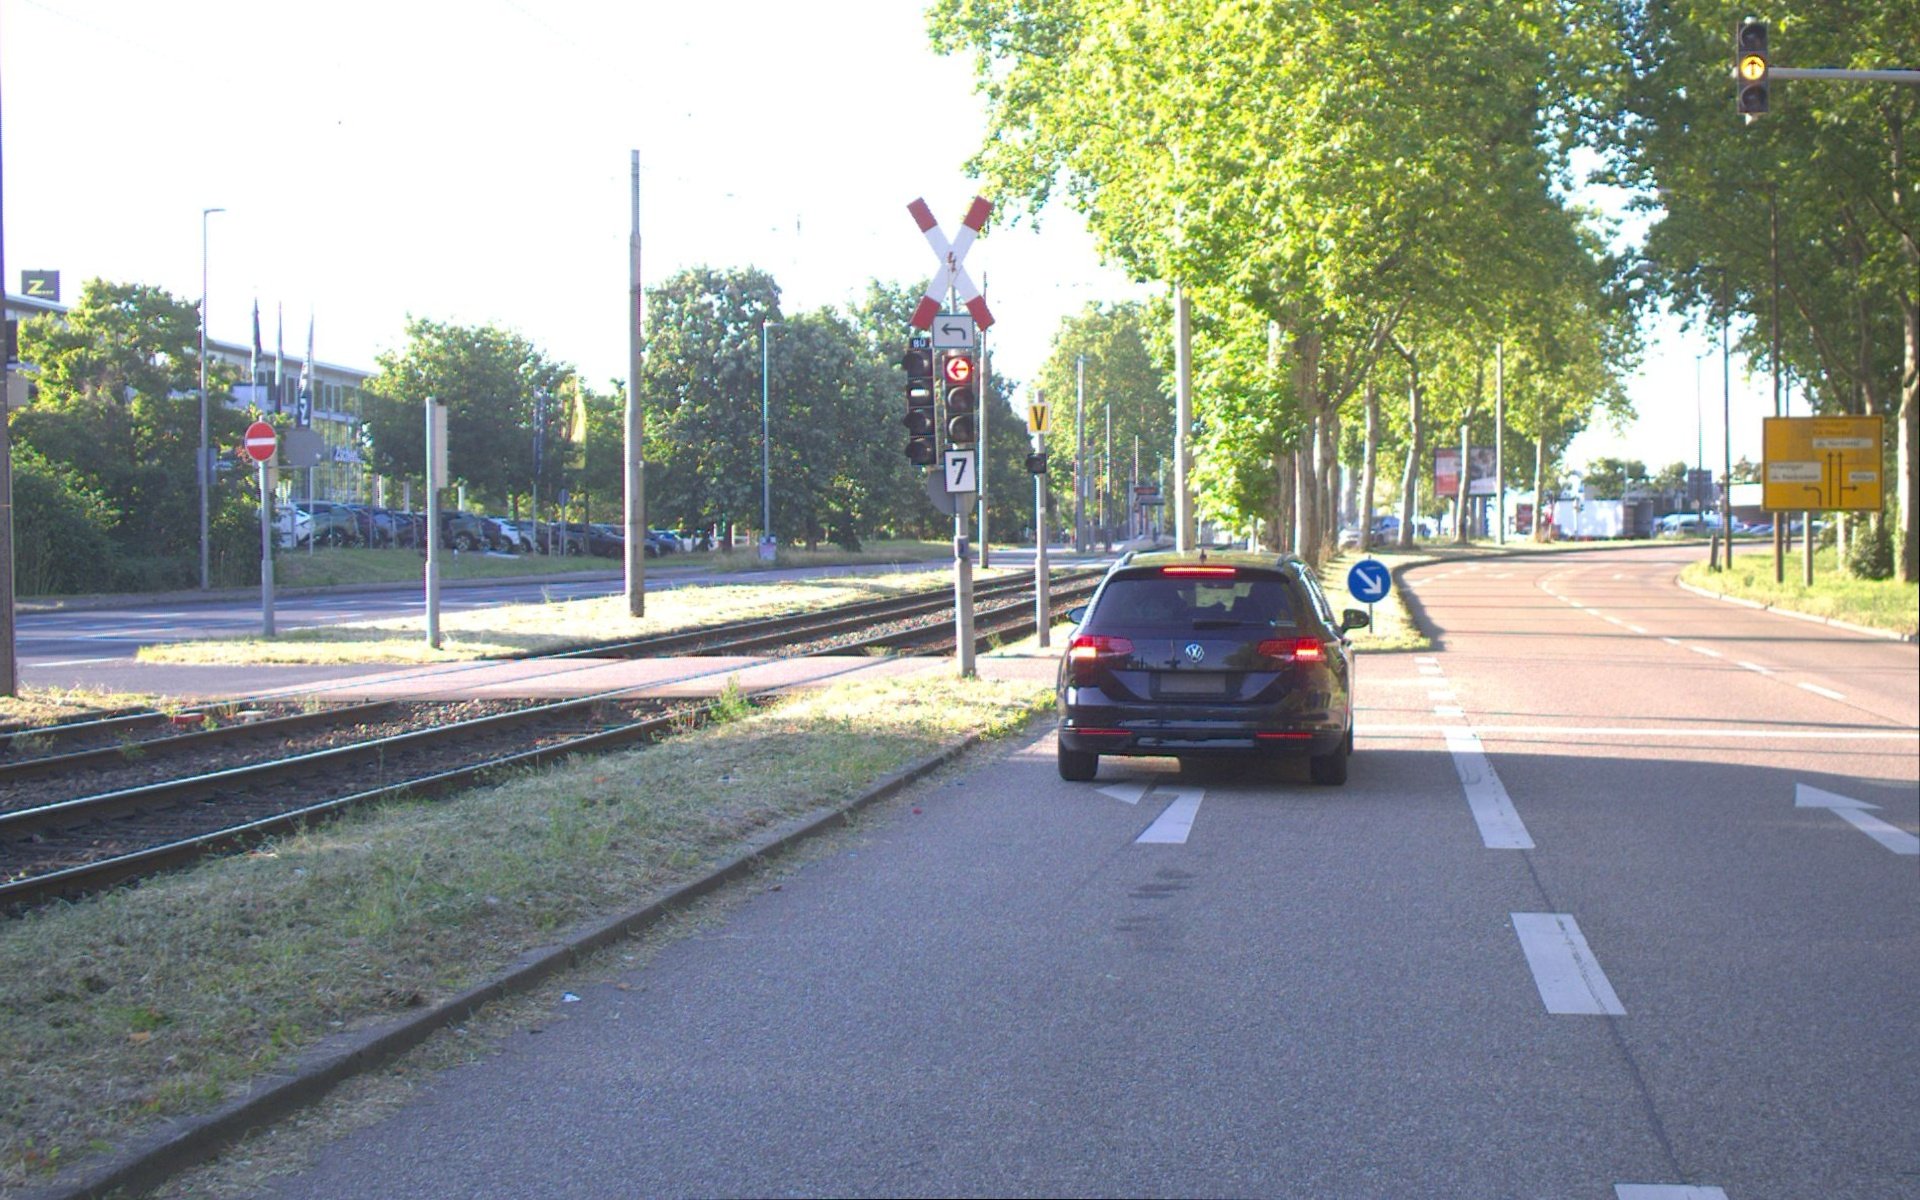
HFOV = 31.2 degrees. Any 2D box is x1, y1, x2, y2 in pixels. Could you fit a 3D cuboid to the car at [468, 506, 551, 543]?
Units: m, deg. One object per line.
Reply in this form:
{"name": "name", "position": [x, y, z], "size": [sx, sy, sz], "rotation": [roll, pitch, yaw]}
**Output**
{"name": "car", "position": [-18.458, -3.079, 140.811], "size": [3.142, 1.485, 1.455], "rotation": [1, 1, 4]}

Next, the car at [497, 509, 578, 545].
{"name": "car", "position": [-17.725, -3.064, 144.222], "size": [3.142, 1.485, 1.455], "rotation": [1, 1, 4]}

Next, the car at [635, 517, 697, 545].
{"name": "car", "position": [-15.938, -3.727, 186.566], "size": [3.142, 1.485, 1.455], "rotation": [1, 1, 4]}

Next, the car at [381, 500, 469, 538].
{"name": "car", "position": [-20.952, -3.172, 134.687], "size": [3.142, 1.485, 1.455], "rotation": [1, 1, 4]}

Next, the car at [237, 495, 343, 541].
{"name": "car", "position": [-21.997, -2.695, 112.916], "size": [3.142, 1.485, 1.455], "rotation": [1, 1, 4]}

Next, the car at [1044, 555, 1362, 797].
{"name": "car", "position": [1.649, 0.425, 22.228], "size": [1.793, 1.398, 3.688], "rotation": [1, 1, 8]}

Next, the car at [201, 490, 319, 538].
{"name": "car", "position": [-20.673, -2.535, 101.612], "size": [3.142, 1.387, 1.455], "rotation": [1, 1, 4]}

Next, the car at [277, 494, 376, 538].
{"name": "car", "position": [-22.067, -2.930, 119.782], "size": [3.142, 1.485, 1.455], "rotation": [1, 1, 4]}

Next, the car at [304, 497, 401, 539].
{"name": "car", "position": [-21.674, -2.926, 122.679], "size": [3.142, 1.485, 1.455], "rotation": [1, 1, 4]}

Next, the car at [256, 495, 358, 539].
{"name": "car", "position": [-22.204, -2.822, 116.878], "size": [3.142, 1.485, 1.455], "rotation": [1, 1, 4]}
